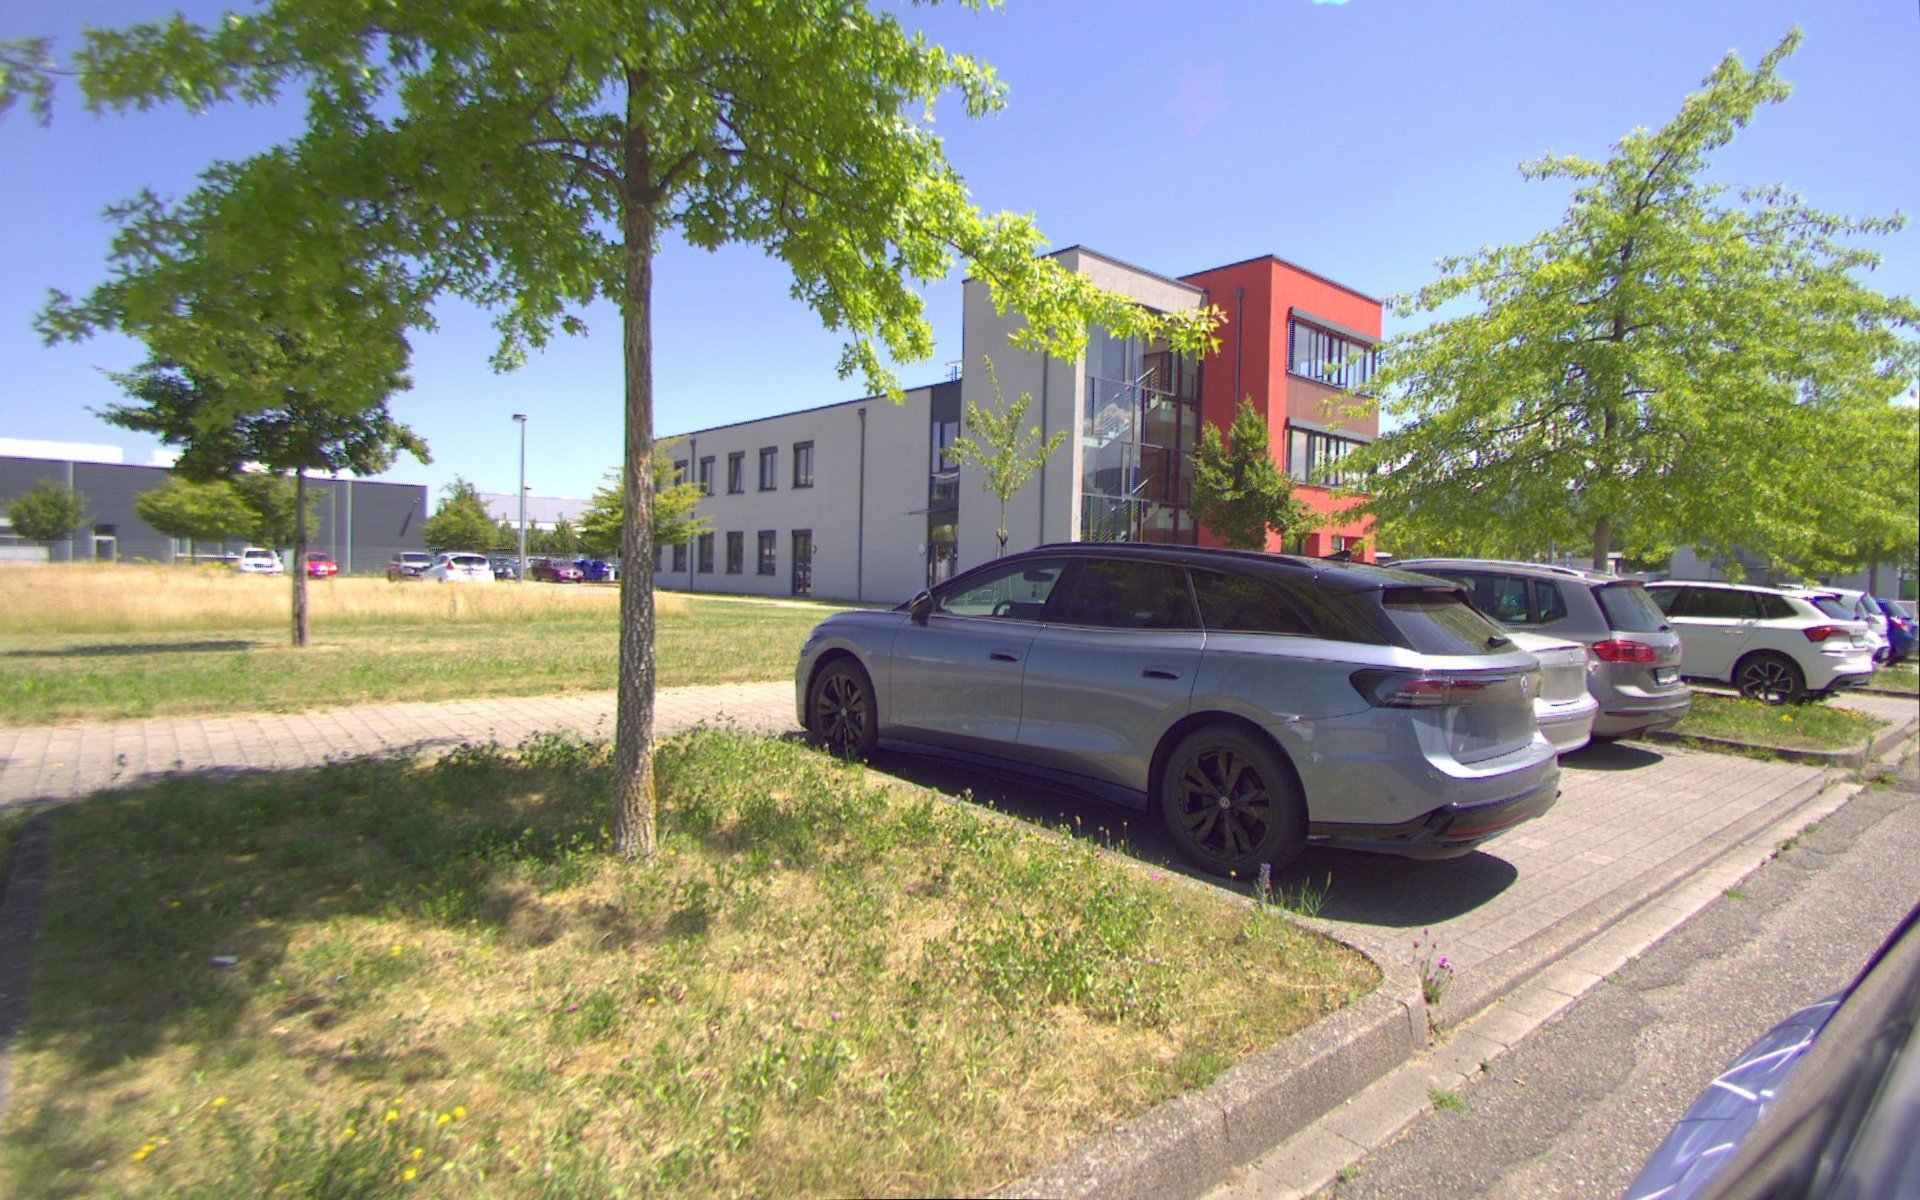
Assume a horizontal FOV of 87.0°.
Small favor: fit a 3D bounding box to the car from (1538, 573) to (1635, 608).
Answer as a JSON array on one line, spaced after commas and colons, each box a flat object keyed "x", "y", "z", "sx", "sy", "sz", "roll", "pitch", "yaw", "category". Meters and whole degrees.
[{"x": 30.036, "y": -0.475, "z": 48.574, "sx": 1.655, "sy": 1.519, "sz": 3.622, "roll": -3, "pitch": 4, "yaw": -42, "category": "car"}]

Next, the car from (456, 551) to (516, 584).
[{"x": -23.828, "y": -1.633, "z": 50.767, "sx": 1.689, "sy": 1.528, "sz": 3.995, "roll": 0, "pitch": 3, "yaw": -41, "category": "car"}]

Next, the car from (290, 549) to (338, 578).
[{"x": -35.622, "y": -2.031, "z": 55.771, "sx": 1.689, "sy": 1.528, "sz": 3.996, "roll": 0, "pitch": 3, "yaw": -40, "category": "car"}]

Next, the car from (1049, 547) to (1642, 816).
[{"x": 2.722, "y": 0.391, "z": 7.970, "sx": 1.616, "sy": 1.470, "sz": 4.057, "roll": 0, "pitch": 4, "yaw": -39, "category": "car"}]

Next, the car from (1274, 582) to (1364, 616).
[{"x": 17.524, "y": -0.077, "z": 49.476, "sx": 1.757, "sy": 1.460, "sz": 3.700, "roll": 3, "pitch": 0, "yaw": -43, "category": "car"}]

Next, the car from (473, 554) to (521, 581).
[{"x": -28.259, "y": -2.014, "z": 61.707, "sx": 1.689, "sy": 1.528, "sz": 3.996, "roll": 0, "pitch": 3, "yaw": -40, "category": "car"}]

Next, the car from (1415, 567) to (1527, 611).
[{"x": 22.330, "y": -0.490, "z": 44.294, "sx": 1.778, "sy": 1.797, "sz": 3.994, "roll": 3, "pitch": -1, "yaw": -40, "category": "car"}]

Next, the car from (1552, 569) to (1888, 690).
[{"x": 11.651, "y": 0.355, "z": 15.719, "sx": 1.748, "sy": 1.543, "sz": 3.843, "roll": 0, "pitch": 3, "yaw": -40, "category": "car"}]

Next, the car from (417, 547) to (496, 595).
[{"x": -17.251, "y": -1.018, "z": 34.622, "sx": 1.689, "sy": 1.528, "sz": 3.330, "roll": 0, "pitch": 3, "yaw": -40, "category": "car"}]

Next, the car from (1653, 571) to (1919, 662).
[{"x": 17.605, "y": 0.275, "z": 21.740, "sx": 1.741, "sy": 1.670, "sz": 4.121, "roll": 1, "pitch": 2, "yaw": -38, "category": "car"}]

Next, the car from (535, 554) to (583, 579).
[{"x": -25.631, "y": -2.150, "z": 64.614, "sx": 1.689, "sy": 1.528, "sz": 3.996, "roll": 0, "pitch": 3, "yaw": -40, "category": "car"}]

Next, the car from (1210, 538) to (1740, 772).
[{"x": 4.551, "y": 0.306, "z": 9.491, "sx": 1.663, "sy": 1.644, "sz": 4.057, "roll": 0, "pitch": 4, "yaw": -39, "category": "car"}]

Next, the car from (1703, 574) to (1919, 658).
[{"x": 19.557, "y": 0.309, "z": 22.932, "sx": 1.695, "sy": 1.508, "sz": 4.011, "roll": 1, "pitch": 4, "yaw": -36, "category": "car"}]

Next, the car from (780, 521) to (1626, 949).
[{"x": 1.029, "y": 0.371, "z": 6.166, "sx": 1.882, "sy": 1.579, "sz": 4.722, "roll": -1, "pitch": 4, "yaw": -44, "category": "car"}]

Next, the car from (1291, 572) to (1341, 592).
[{"x": 29.732, "y": -1.508, "z": 84.565, "sx": 1.630, "sy": 1.519, "sz": 3.624, "roll": -3, "pitch": 4, "yaw": -40, "category": "car"}]

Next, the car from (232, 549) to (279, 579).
[{"x": -37.453, "y": -1.937, "z": 53.743, "sx": 1.689, "sy": 1.470, "sz": 3.996, "roll": 0, "pitch": 3, "yaw": -40, "category": "car"}]

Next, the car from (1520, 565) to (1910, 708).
[{"x": 10.037, "y": 0.374, "z": 13.731, "sx": 1.745, "sy": 1.572, "sz": 3.848, "roll": 1, "pitch": 2, "yaw": -35, "category": "car"}]

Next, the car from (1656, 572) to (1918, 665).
[{"x": 15.919, "y": 0.286, "z": 19.623, "sx": 1.581, "sy": 1.481, "sz": 3.628, "roll": 1, "pitch": 3, "yaw": -38, "category": "car"}]

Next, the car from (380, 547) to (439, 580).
[{"x": -26.712, "y": -1.791, "z": 49.091, "sx": 1.689, "sy": 1.528, "sz": 3.995, "roll": 0, "pitch": 3, "yaw": -41, "category": "car"}]
